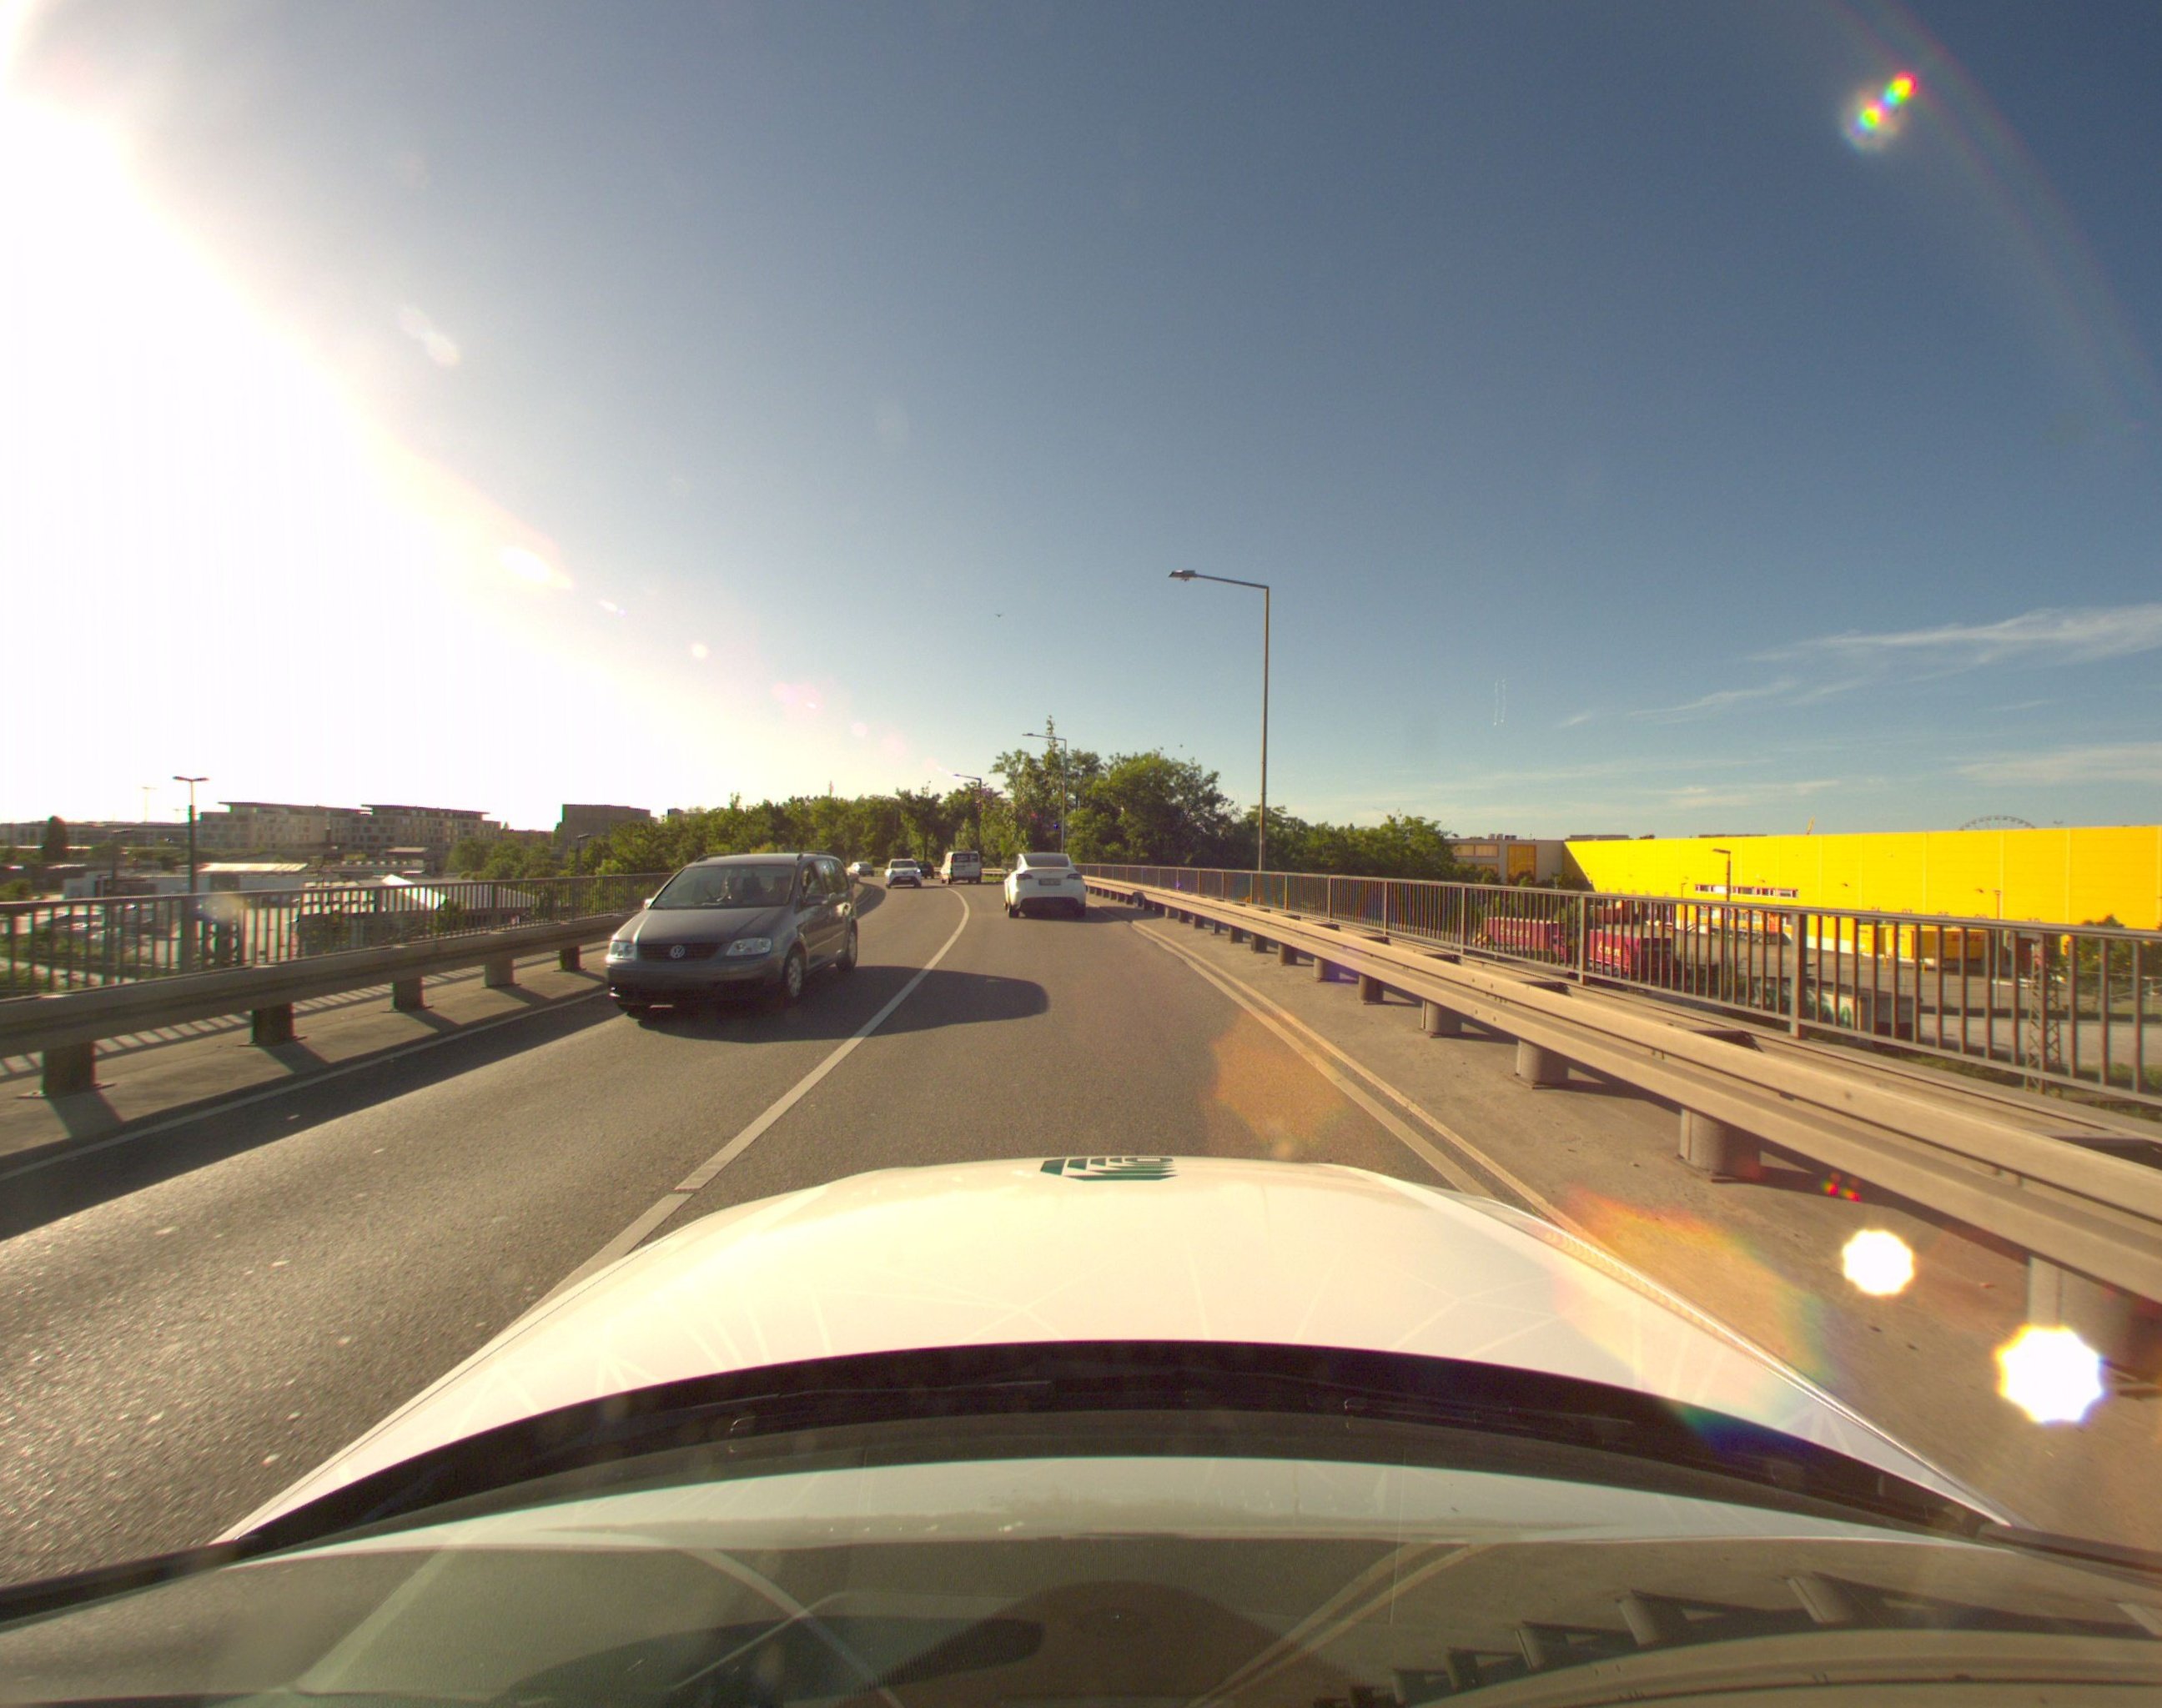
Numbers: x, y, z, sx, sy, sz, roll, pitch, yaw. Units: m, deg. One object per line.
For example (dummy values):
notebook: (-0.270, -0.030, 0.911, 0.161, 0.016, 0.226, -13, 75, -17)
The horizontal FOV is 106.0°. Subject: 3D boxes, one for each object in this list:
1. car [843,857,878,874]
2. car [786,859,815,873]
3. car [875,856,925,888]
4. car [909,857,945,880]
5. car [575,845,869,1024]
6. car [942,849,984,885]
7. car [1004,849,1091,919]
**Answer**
car: (-22.321, 1.173, 82.373, 1.875, 1.585, 3.868, -1, 0, -40)
car: (-34.296, 1.477, 99.511, 1.852, 1.555, 3.845, -1, 0, -44)
car: (-9.525, 0.916, 42.740, 1.845, 1.519, 3.740, -1, 0, -24)
car: (-11.952, 1.133, 63.114, 1.977, 1.638, 3.970, -2, -1, -22)
car: (-3.889, 0.752, 9.688, 1.845, 1.623, 4.097, -1, 0, -3)
car: (-6.953, 0.739, 47.542, 2.008, 1.940, 4.446, -1, 0, -14)
car: (-0.986, 0.725, 21.405, 1.983, 1.638, 4.052, 0, 0, -7)
